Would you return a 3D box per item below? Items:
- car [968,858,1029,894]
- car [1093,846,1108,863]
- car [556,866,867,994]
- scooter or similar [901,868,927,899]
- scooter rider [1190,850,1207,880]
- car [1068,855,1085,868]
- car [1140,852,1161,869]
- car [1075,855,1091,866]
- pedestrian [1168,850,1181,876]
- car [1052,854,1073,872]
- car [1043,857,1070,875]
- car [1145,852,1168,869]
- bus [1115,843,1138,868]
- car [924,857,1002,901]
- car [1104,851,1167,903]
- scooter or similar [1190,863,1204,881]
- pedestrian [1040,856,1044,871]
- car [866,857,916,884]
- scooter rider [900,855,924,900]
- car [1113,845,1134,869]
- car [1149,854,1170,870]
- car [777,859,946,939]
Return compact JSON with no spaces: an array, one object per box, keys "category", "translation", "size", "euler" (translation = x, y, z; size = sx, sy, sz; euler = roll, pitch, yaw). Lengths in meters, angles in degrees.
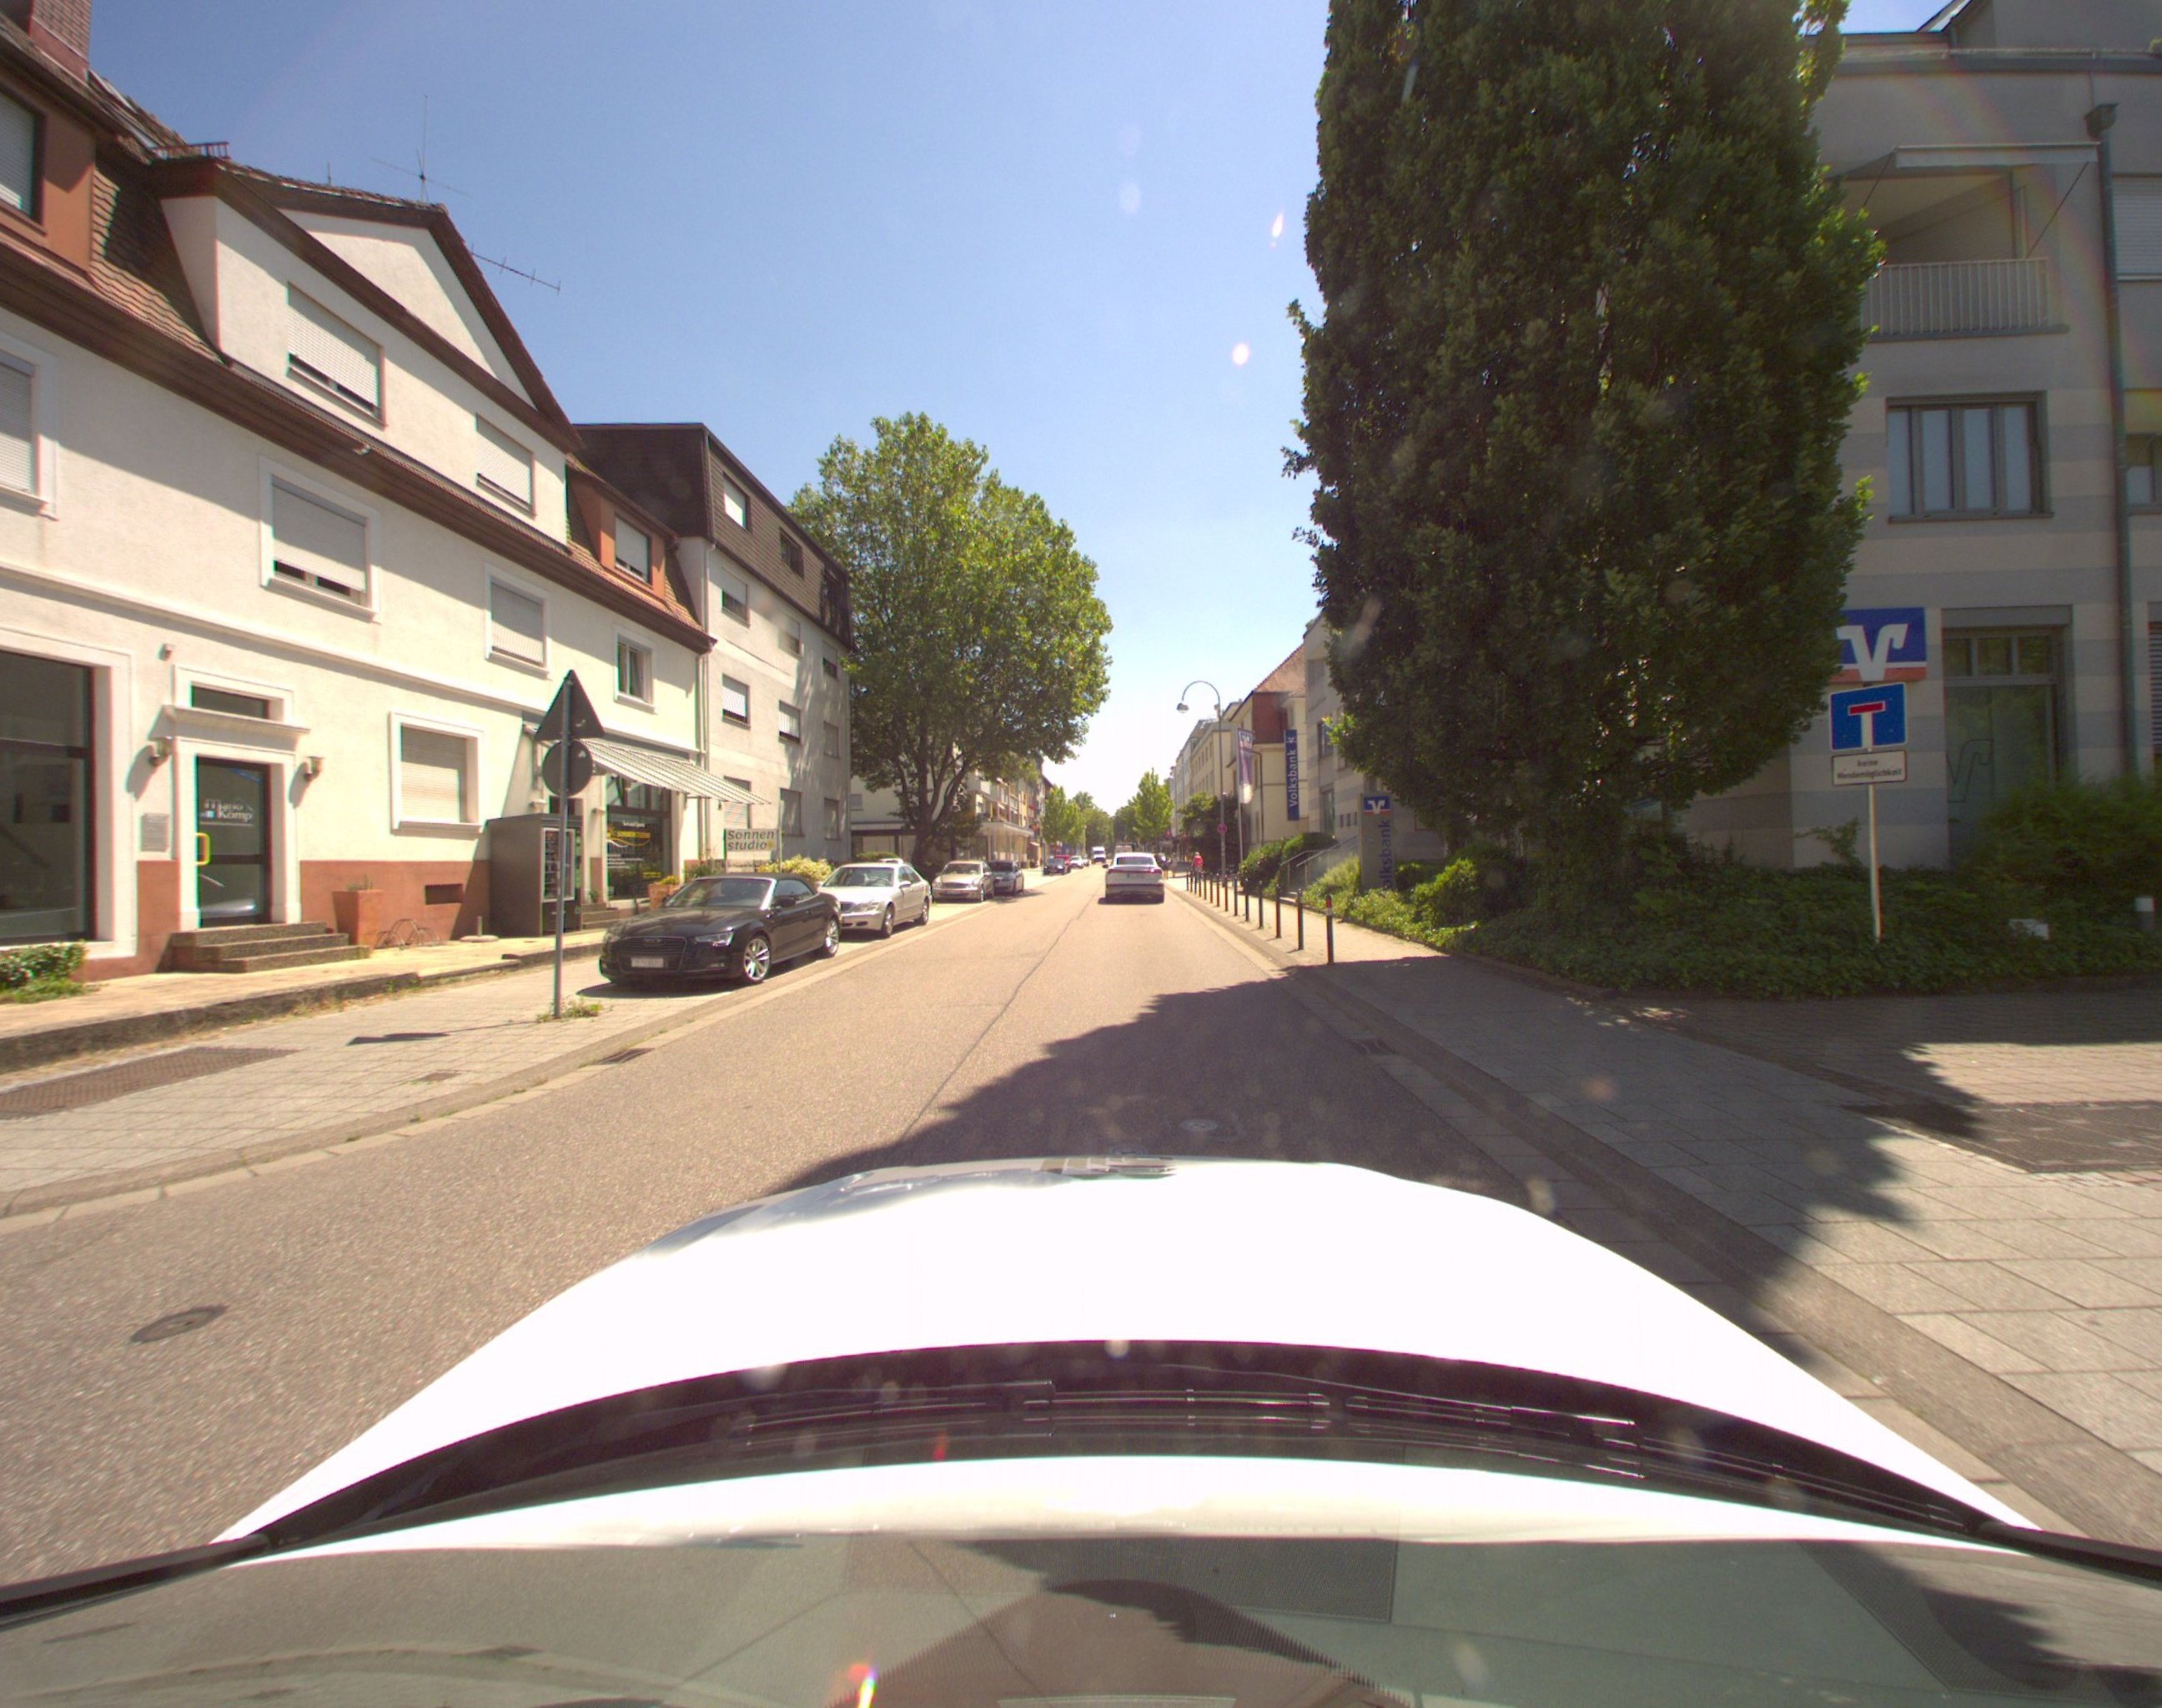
[{"category":"car","translation":[-3.484,0.899,35.507],"size":[1.973,1.452,5.153],"euler":[0,0,2]},{"category":"car","translation":[3.094,0.104,129.233],"size":[2.030,2.630,7.107],"euler":[-3,0,0]},{"category":"car","translation":[-4.888,0.910,11.838],"size":[1.934,1.373,5.102],"euler":[-1,0,3]},{"category":"scooter or similar","translation":[-6.092,1.079,29.817],"size":[0.660,1.098,1.029],"euler":[1,0,4]},{"category":"scooter rider","translation":[6.146,0.586,42.704],"size":[0.713,1.548,0.770],"euler":[-2,0,1]},{"category":"car","translation":[-0.543,0.921,100.348],"size":[1.745,1.618,4.405],"euler":[1,0,4]},{"category":"car","translation":[7.600,0.687,88.898],"size":[1.849,1.674,4.537],"euler":[-3,0,0]},{"category":"car","translation":[0.317,0.882,111.197],"size":[1.744,1.453,4.406],"euler":[1,0,5]},{"category":"pedestrian","translation":[6.235,0.596,54.253],"size":[0.697,1.627,0.784],"euler":[-4,-1,1]},{"category":"car","translation":[-1.718,0.823,77.049],"size":[1.745,1.702,4.104],"euler":[1,0,2]},{"category":"car","translation":[-2.083,1.032,70.577],"size":[1.888,1.417,5.050],"euler":[1,0,2]},{"category":"car","translation":[7.759,0.654,83.539],"size":[1.890,1.674,4.690],"euler":[-3,0,0]},{"category":"bus","translation":[6.004,0.212,105.936],"size":[2.648,3.221,7.312],"euler":[1,0,5]},{"category":"car","translation":[-4.174,0.856,29.630],"size":[1.973,1.452,4.870],"euler":[0,0,2]},{"category":"car","translation":[1.777,0.733,27.545],"size":[1.986,1.633,4.001],"euler":[0,0,2]},{"category":"scooter or similar","translation":[6.188,0.953,43.354],"size":[0.660,0.963,0.754],"euler":[-2,0,3]},{"category":"pedestrian","translation":[-4.620,1.109,96.361],"size":[0.394,1.735,0.444],"euler":[-1,-1,-8]},{"category":"car","translation":[-11.122,0.935,47.470],"size":[1.902,1.486,3.960],"euler":[-1,0,-28]},{"category":"scooter rider","translation":[-6.108,0.849,29.435],"size":[0.586,1.575,0.878],"euler":[1,0,4]},{"category":"car","translation":[4.593,0.302,87.503],"size":[2.147,2.442,5.287],"euler":[1,0,3]},{"category":"car","translation":[7.405,0.735,77.402],"size":[1.887,1.438,4.550],"euler":[-1,0,4]},{"category":"car","translation":[-4.549,0.865,17.904],"size":[1.972,1.452,5.362],"euler":[0,0,3]}]
